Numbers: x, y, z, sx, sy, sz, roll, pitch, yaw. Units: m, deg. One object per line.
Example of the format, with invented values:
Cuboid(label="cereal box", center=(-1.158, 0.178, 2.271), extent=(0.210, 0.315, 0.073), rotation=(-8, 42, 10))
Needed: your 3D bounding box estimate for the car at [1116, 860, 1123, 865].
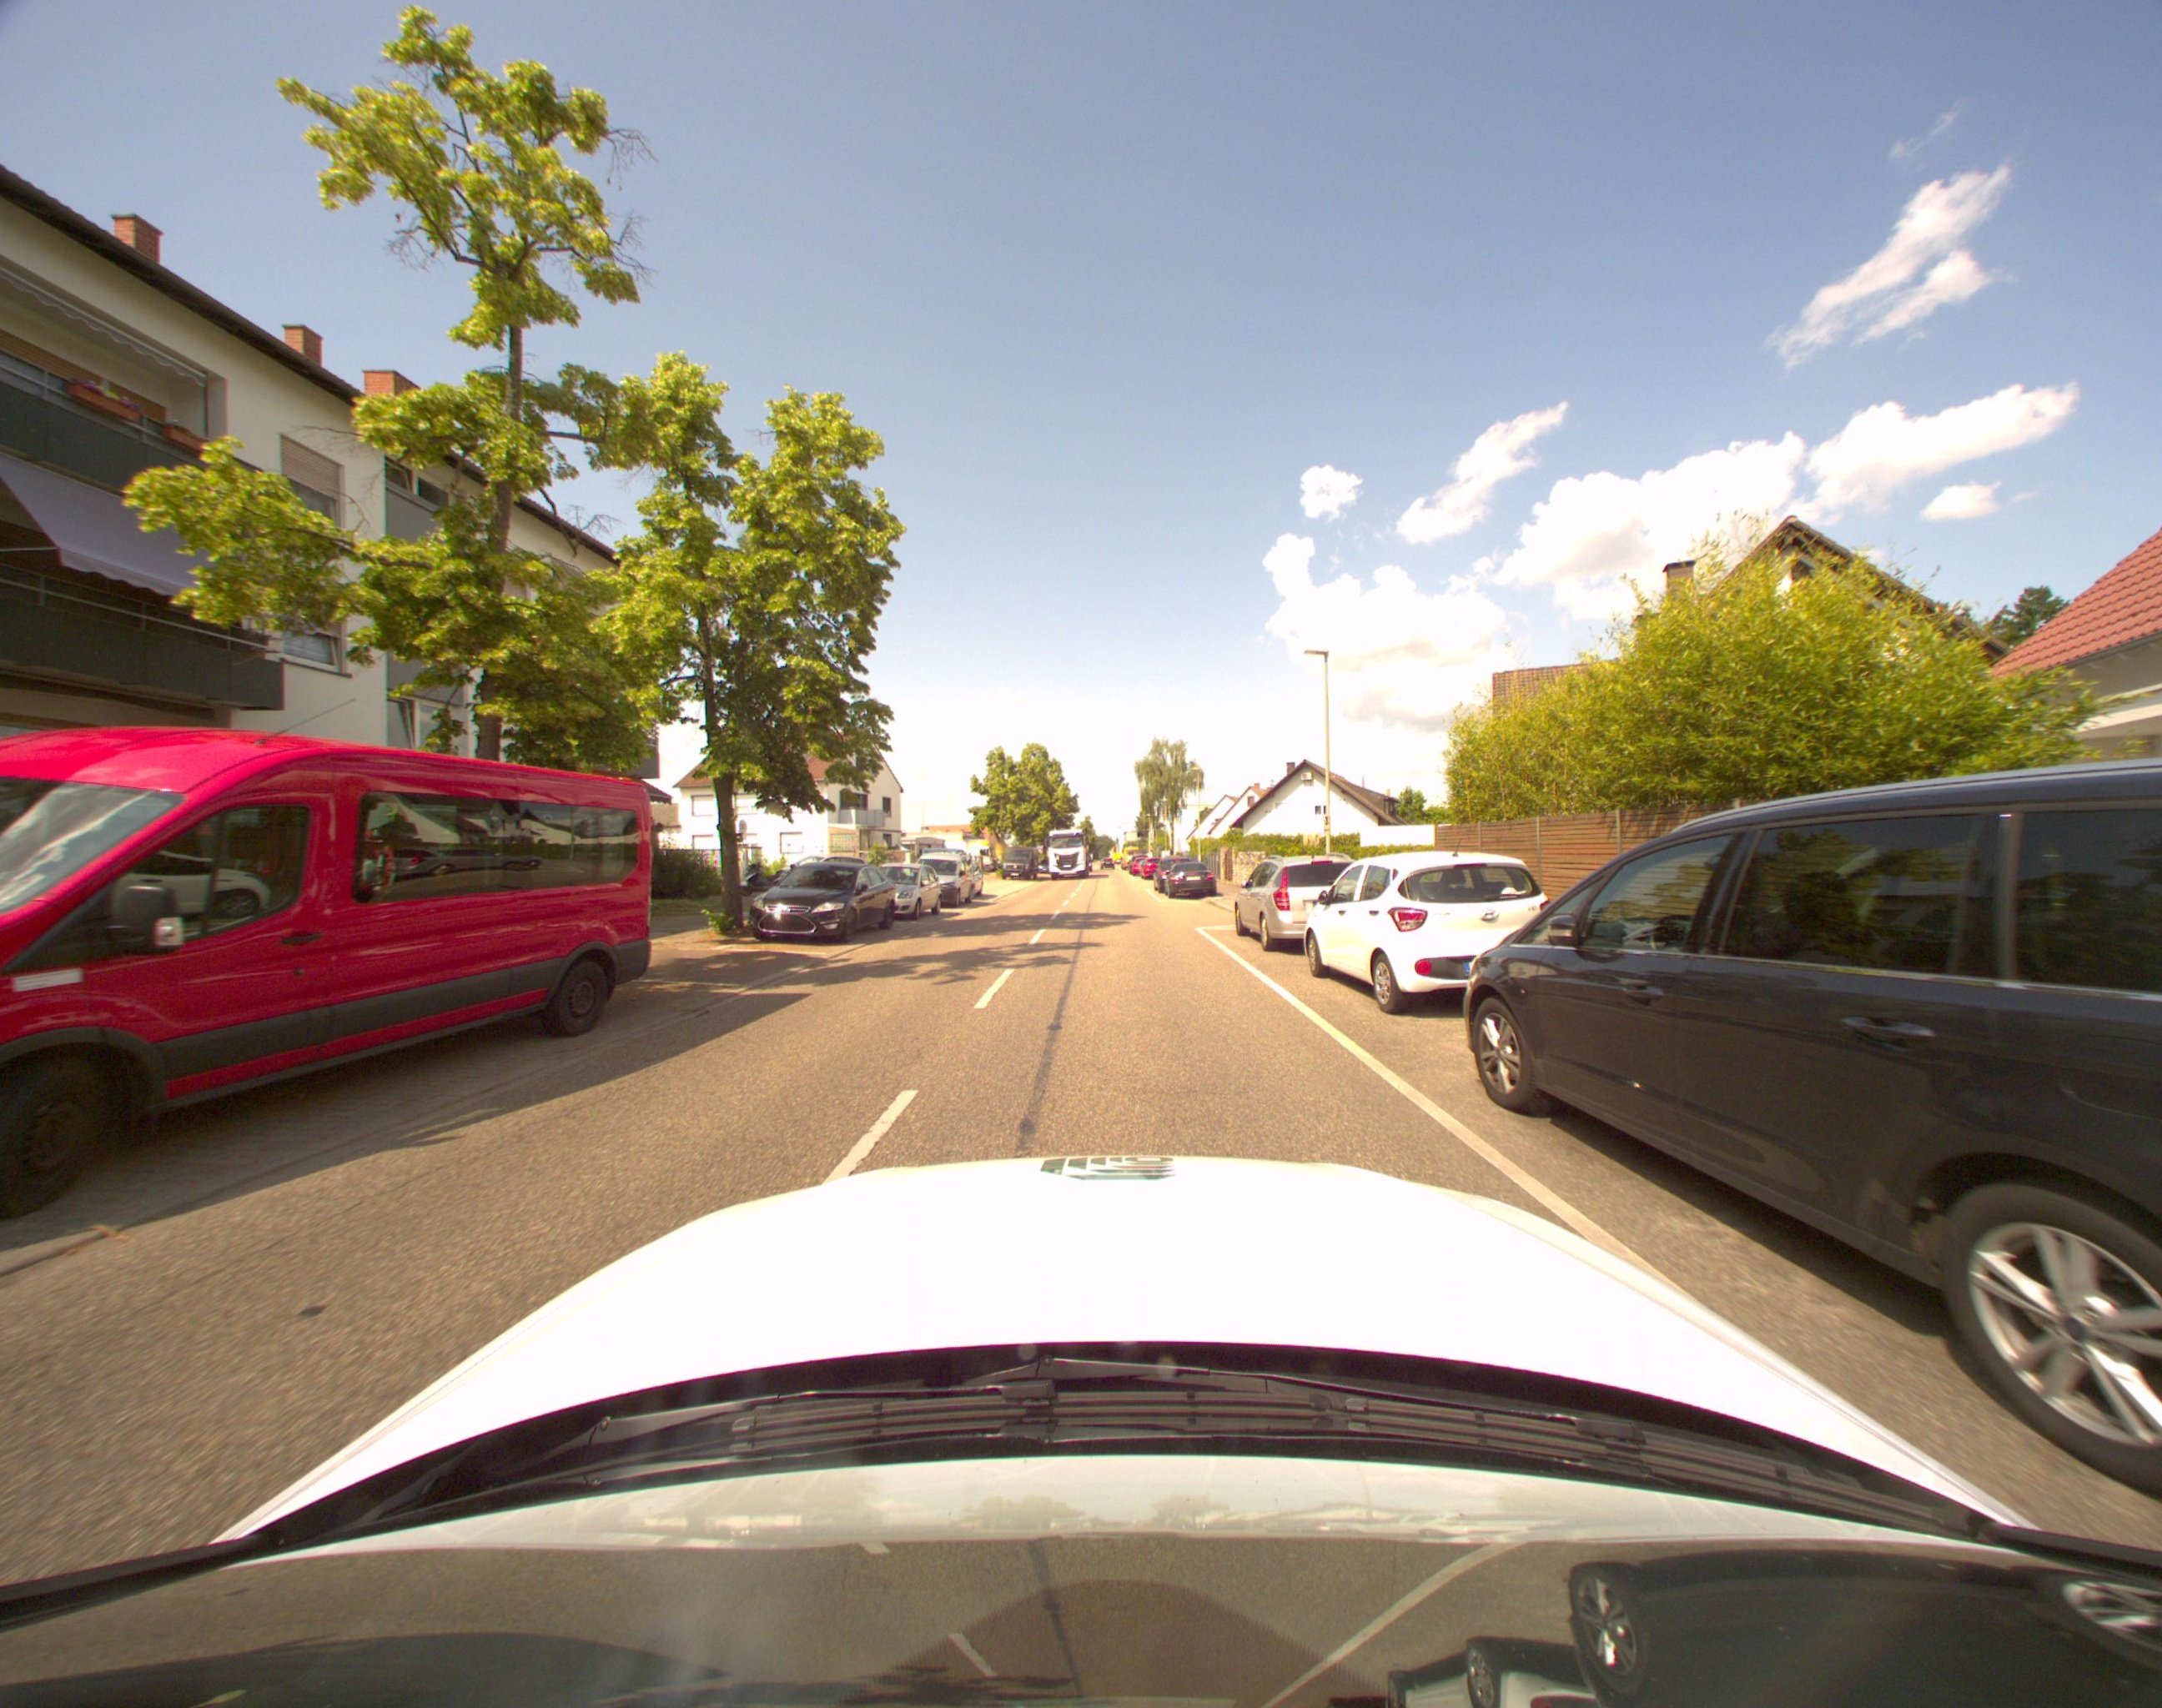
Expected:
Cuboid(label="car", center=(9.521, 2.112, 201.567), extent=(1.645, 1.387, 4.424), rotation=(0, 0, 2))

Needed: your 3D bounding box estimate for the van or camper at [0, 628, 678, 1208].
Cuboid(label="van or camper", center=(-5.695, 0.244, 5.846), extent=(2.139, 2.549, 6.227), rotation=(2, 0, 3))

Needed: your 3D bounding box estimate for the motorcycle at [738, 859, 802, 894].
Cuboid(label="motorcycle", center=(-11.436, 0.820, 29.984), extent=(2.085, 1.249, 0.678), rotation=(1, -1, 1))

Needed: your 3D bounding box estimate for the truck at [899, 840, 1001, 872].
Cuboid(label="truck", center=(-12.612, 0.181, 78.769), extent=(9.212, 2.856, 2.725), rotation=(-1, 0, 5))

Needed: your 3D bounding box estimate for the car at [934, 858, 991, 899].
Cuboid(label="car", center=(-5.007, 0.990, 34.933), extent=(1.743, 1.461, 4.707), rotation=(3, 1, -1))

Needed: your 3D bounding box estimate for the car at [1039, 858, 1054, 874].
Cuboid(label="car", center=(-3.372, 1.183, 79.979), extent=(1.242, 1.519, 3.368), rotation=(-1, 0, 3))

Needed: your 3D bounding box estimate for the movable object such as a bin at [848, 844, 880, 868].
Cuboid(label="movable object such as a bin", center=(-14.338, 0.124, 53.787), extent=(1.298, 1.431, 1.611), rotation=(0, 6, 18))

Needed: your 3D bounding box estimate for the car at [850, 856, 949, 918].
Cuboid(label="car", center=(-4.921, 0.864, 22.638), extent=(1.616, 1.469, 3.928), rotation=(3, -1, 3))

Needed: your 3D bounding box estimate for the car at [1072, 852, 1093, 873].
Cuboid(label="car", center=(0.158, 0.914, 86.264), extent=(2.043, 2.034, 5.143), rotation=(-2, -1, 1))

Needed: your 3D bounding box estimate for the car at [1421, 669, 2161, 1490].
Cuboid(label="car", center=(3.296, 0.513, 3.325), extent=(1.884, 1.774, 4.709), rotation=(-1, -1, 1))

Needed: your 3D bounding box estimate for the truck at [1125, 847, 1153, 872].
Cuboid(label="truck", center=(5.690, 0.560, 79.979), extent=(2.512, 2.299, 5.898), rotation=(-1, -1, 2))

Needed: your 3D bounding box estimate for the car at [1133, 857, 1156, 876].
Cuboid(label="car", center=(4.972, 0.995, 64.355), extent=(1.678, 1.435, 4.148), rotation=(0, -1, 3))

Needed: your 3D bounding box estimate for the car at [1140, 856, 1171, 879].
Cuboid(label="car", center=(4.919, 0.871, 54.297), extent=(1.686, 1.463, 4.755), rotation=(0, -1, 0))

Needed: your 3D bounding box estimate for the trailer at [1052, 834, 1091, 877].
Cuboid(label="trailer", center=(-0.729, 0.143, 63.187), extent=(2.826, 3.069, 8.886), rotation=(-1, 0, -1))

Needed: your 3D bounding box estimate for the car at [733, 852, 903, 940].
Cuboid(label="car", center=(-5.171, 0.767, 16.761), extent=(1.803, 1.493, 4.598), rotation=(2, 0, 2))

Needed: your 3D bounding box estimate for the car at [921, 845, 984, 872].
Cuboid(label="car", center=(-11.167, 0.395, 70.930), extent=(4.964, 2.232, 2.007), rotation=(-1, -2, 14))

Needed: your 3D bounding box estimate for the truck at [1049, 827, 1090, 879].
Cuboid(label="truck", center=(-0.738, -0.075, 58.378), extent=(2.763, 3.499, 5.881), rotation=(-1, 0, 0))

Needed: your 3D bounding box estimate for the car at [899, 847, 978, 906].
Cuboid(label="car", center=(-4.858, 0.739, 28.432), extent=(1.803, 1.806, 4.492), rotation=(3, 0, 1))

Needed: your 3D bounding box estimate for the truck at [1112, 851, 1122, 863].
Cuboid(label="truck", center=(9.364, 0.826, 213.093), extent=(2.466, 2.940, 7.188), rotation=(1, -1, 0))

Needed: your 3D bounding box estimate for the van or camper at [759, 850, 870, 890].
Cuboid(label="van or camper", center=(-10.879, 0.641, 33.448), extent=(1.758, 1.543, 4.025), rotation=(1, -1, 37))

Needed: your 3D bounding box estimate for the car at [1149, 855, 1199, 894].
Cuboid(label="car", center=(4.043, 0.862, 35.957), extent=(1.738, 1.551, 4.121), rotation=(1, 0, 0))

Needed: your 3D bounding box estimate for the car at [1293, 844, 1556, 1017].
Cuboid(label="car", center=(3.496, 0.673, 8.994), extent=(1.437, 1.505, 3.672), rotation=(-1, 0, 1))

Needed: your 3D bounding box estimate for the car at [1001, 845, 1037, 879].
Cuboid(label="car", center=(-4.256, 0.504, 56.685), extent=(2.162, 2.260, 3.999), rotation=(1, 1, 0))

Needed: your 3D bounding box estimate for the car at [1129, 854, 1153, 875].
Cuboid(label="car", center=(5.085, 0.874, 69.348), extent=(1.823, 1.662, 4.556), rotation=(0, -1, 2))

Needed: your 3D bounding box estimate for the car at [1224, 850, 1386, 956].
Cuboid(label="car", center=(3.674, 0.730, 14.128), extent=(1.739, 1.552, 4.293), rotation=(0, 0, 1))

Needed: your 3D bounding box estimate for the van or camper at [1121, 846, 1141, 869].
Cuboid(label="van or camper", center=(5.875, 0.417, 97.049), extent=(1.987, 2.664, 5.768), rotation=(-1, 0, 0))

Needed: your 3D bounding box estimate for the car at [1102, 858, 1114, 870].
Cuboid(label="car", center=(3.471, 1.283, 105.064), extent=(1.422, 1.519, 3.019), rotation=(-1, -1, 3))

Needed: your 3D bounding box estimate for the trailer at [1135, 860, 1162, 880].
Cuboid(label="trailer", center=(4.845, 1.131, 58.907), extent=(1.602, 1.378, 4.432), rotation=(0, -1, 0))

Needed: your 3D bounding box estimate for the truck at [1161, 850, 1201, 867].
Cuboid(label="truck", center=(16.284, 0.706, 133.030), extent=(6.068, 2.577, 2.546), rotation=(-1, 0, -25))

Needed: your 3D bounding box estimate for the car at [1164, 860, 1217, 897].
Cuboid(label="car", center=(4.158, 0.894, 31.451), extent=(1.703, 1.318, 3.966), rotation=(-1, 0, 3))
